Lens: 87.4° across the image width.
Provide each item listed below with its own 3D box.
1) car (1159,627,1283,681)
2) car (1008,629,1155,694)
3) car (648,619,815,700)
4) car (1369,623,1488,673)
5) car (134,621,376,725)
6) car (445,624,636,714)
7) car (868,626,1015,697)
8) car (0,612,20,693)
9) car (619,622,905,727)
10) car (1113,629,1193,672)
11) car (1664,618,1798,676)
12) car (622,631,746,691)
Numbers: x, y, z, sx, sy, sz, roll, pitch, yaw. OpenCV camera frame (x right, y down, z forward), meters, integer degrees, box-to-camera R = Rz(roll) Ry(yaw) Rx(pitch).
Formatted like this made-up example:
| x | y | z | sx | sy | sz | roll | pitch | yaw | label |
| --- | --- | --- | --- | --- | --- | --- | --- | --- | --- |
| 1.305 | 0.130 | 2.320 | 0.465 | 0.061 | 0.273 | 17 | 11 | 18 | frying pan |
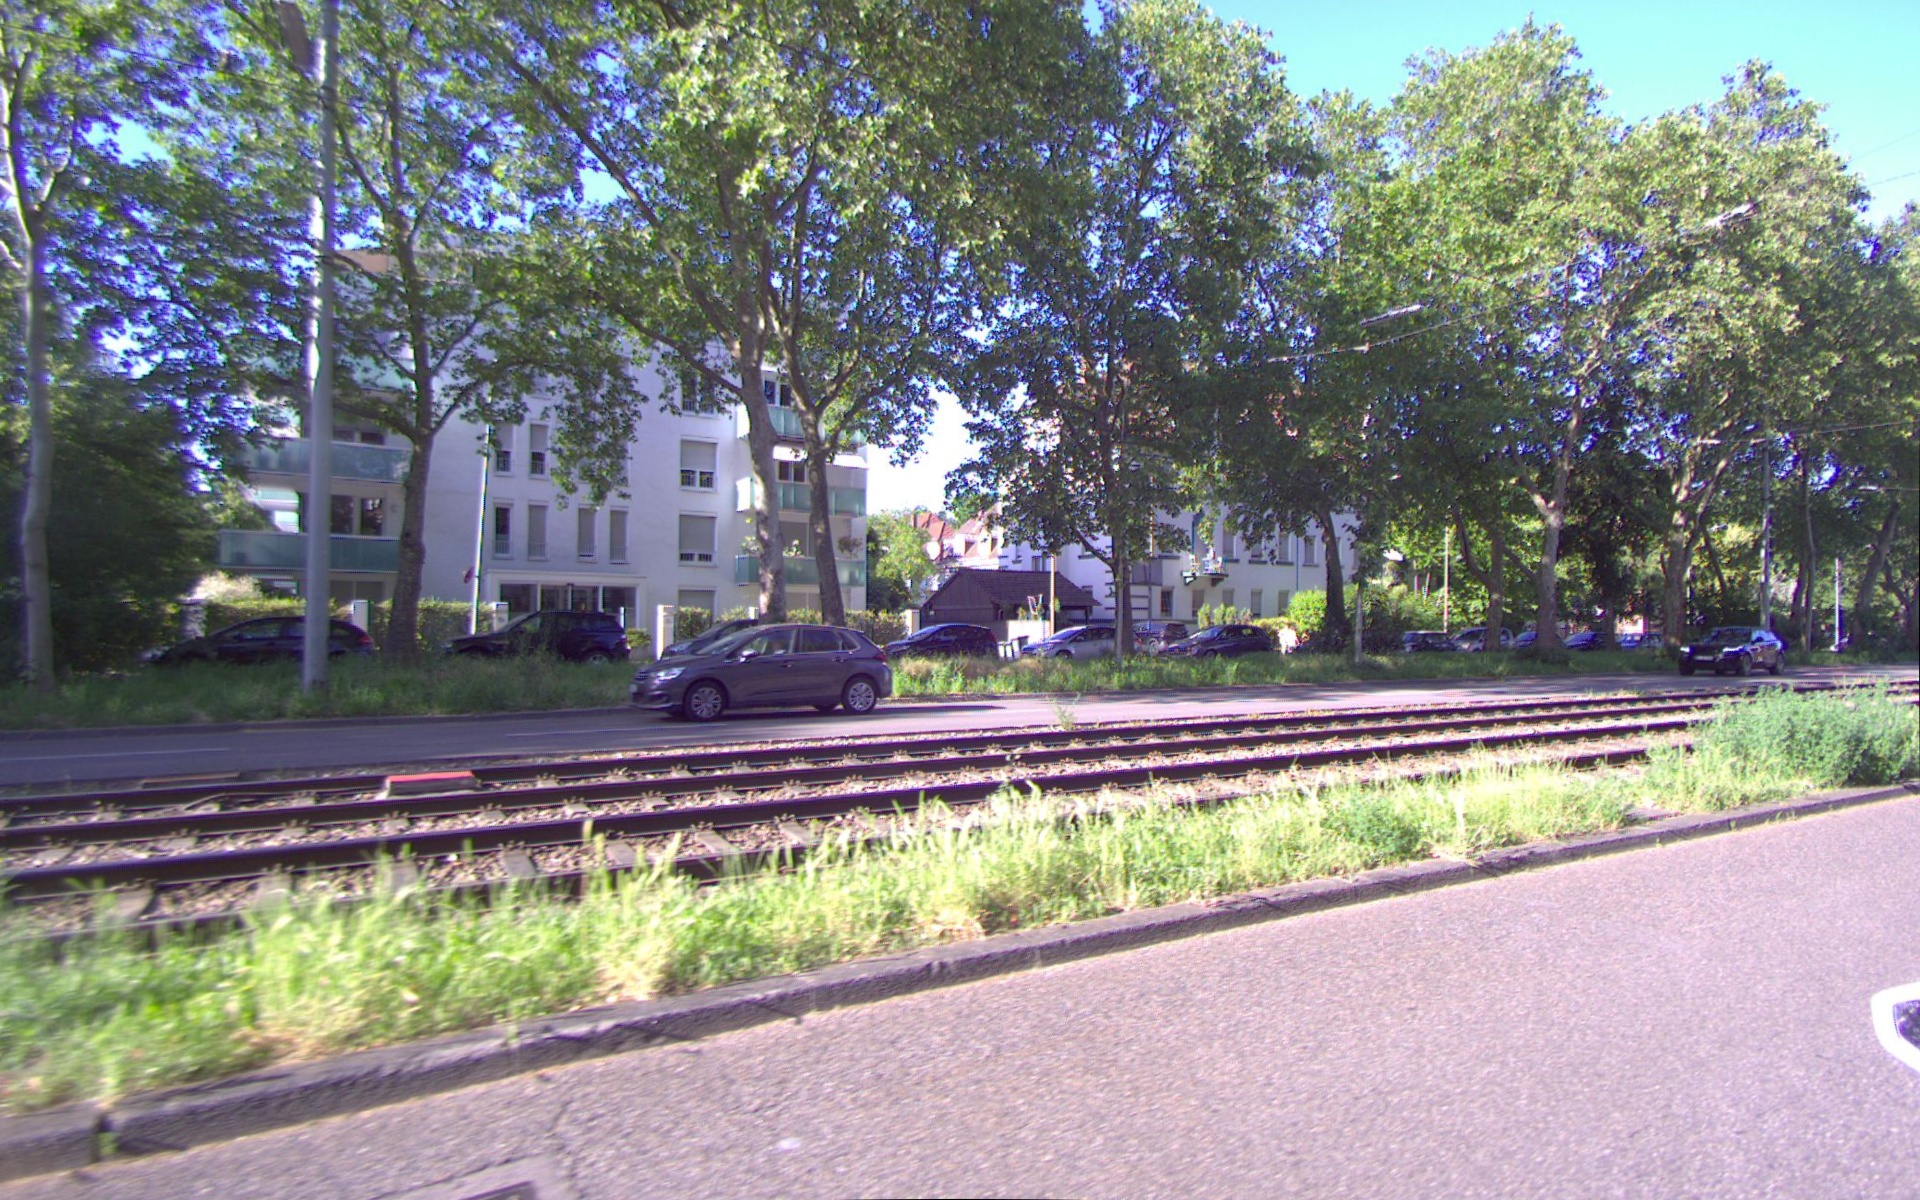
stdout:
| x | y | z | sx | sy | sz | roll | pitch | yaw | label |
| --- | --- | --- | --- | --- | --- | --- | --- | --- | --- |
| 9.633 | 1.938 | 37.028 | 4.501 | 1.860 | 1.811 | 1 | -1 | -31 | car |
| 4.088 | 2.007 | 33.703 | 4.626 | 2.040 | 1.985 | 1 | -1 | -29 | car |
| -6.214 | 1.559 | 27.370 | 4.046 | 2.040 | 1.984 | 1 | -1 | -31 | car |
| 20.259 | 2.037 | 43.381 | 5.208 | 2.040 | 2.142 | 1 | -1 | -31 | car |
| -15.105 | 1.493 | 21.826 | 4.115 | 2.040 | 1.982 | 1 | -1 | -33 | car |
| -10.309 | 1.621 | 24.724 | 4.125 | 2.040 | 1.984 | 1 | -2 | -31 | car |
| -0.558 | 1.816 | 30.736 | 4.052 | 2.040 | 1.985 | 1 | -1 | -29 | car |
| -21.343 | 0.992 | 18.794 | 5.013 | 1.619 | 2.025 | 1 | -4 | -22 | car |
| -3.220 | 1.193 | 16.544 | 4.288 | 1.527 | 1.787 | 1 | -4 | -30 | car |
| 9.217 | 2.372 | 48.105 | 1.695 | 1.964 | 3.786 | 1 | -1 | -31 | car |
| 26.822 | 1.607 | 34.915 | 4.815 | 1.895 | 1.985 | 1 | -3 | -30 | car |
| -9.967 | 2.135 | 36.256 | 3.953 | 2.040 | 1.984 | 1 | -2 | -30 | car |
